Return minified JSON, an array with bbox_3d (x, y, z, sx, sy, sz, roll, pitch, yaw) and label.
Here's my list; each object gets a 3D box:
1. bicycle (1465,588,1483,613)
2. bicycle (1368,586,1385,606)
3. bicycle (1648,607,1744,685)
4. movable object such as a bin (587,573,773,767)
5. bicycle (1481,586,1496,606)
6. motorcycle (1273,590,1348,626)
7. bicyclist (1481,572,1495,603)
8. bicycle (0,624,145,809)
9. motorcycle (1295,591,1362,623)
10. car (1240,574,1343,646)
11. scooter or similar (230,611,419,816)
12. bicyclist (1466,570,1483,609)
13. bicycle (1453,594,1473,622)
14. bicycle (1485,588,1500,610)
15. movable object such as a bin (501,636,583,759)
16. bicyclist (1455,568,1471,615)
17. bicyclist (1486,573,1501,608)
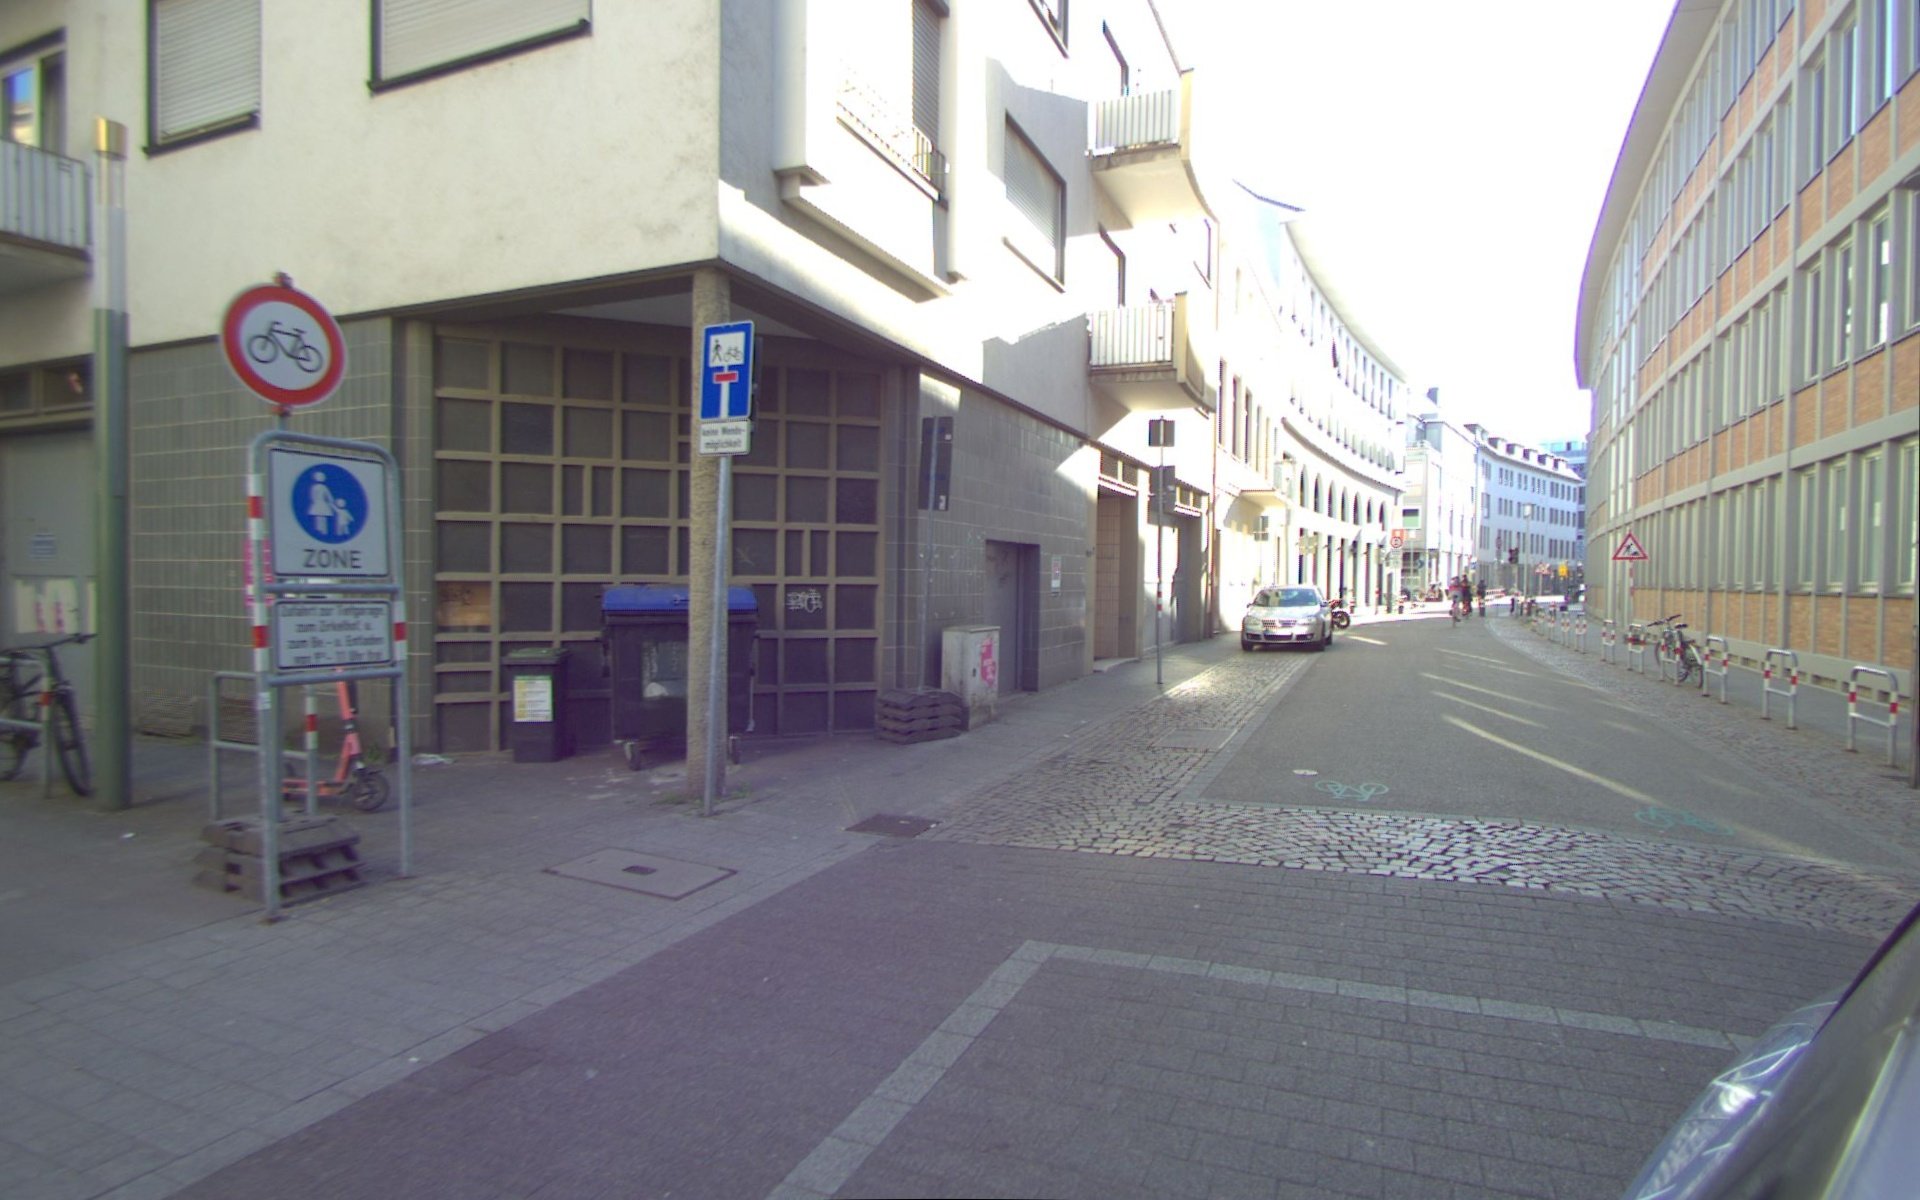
[{"bbox_3d":[21.021,0.014,41.375,0.572,0.973,1.702,1,2,30],"label":"bicycle"},{"bbox_3d":[21.044,-0.193,51.170,0.572,0.973,1.702,1,2,30],"label":"bicycle"},{"bbox_3d":[11.345,0.669,15.666,0.619,1.067,1.813,1,2,17],"label":"bicycle"},{"bbox_3d":[-2.356,0.518,8.494,1.404,1.481,1.131,0,1,-18],"label":"movable object such as a bin"},{"bbox_3d":[27.547,-0.212,52.781,0.618,0.973,1.702,1,2,30],"label":"bicycle"},{"bbox_3d":[10.270,0.224,29.698,1.989,0.967,0.636,2,2,38],"label":"motorcycle"},{"bbox_3d":[27.515,-0.667,52.731,0.576,1.594,0.684,1,1,31],"label":"bicyclist"},{"bbox_3d":[-6.746,0.772,7.301,1.876,1.141,0.675,0,1,28],"label":"bicycle"},{"bbox_3d":[12.058,0.216,33.140,1.989,0.967,0.636,2,2,38],"label":"motorcycle"},{"bbox_3d":[7.613,0.168,23.040,1.828,1.480,3.967,0,1,24],"label":"car"},{"bbox_3d":[-4.232,0.713,6.746,1.149,1.238,0.494,1,1,22],"label":"scooter or similar"},{"bbox_3d":[21.141,-0.426,41.597,0.576,1.594,0.685,1,1,29],"label":"bicyclist"},{"bbox_3d":[16.667,0.259,33.531,0.520,0.859,1.475,1,2,29],"label":"bicycle"},{"bbox_3d":[24.059,-0.060,45.711,0.572,0.973,1.702,1,2,30],"label":"bicycle"},{"bbox_3d":[-3.475,0.792,8.446,0.584,0.938,0.608,0,1,-18],"label":"movable object such as a bin"},{"bbox_3d":[16.656,-0.281,33.498,0.468,1.522,0.788,1,1,27],"label":"bicyclist"},{"bbox_3d":[24.088,-0.453,45.714,0.572,1.552,0.807,1,1,30],"label":"bicyclist"}]
